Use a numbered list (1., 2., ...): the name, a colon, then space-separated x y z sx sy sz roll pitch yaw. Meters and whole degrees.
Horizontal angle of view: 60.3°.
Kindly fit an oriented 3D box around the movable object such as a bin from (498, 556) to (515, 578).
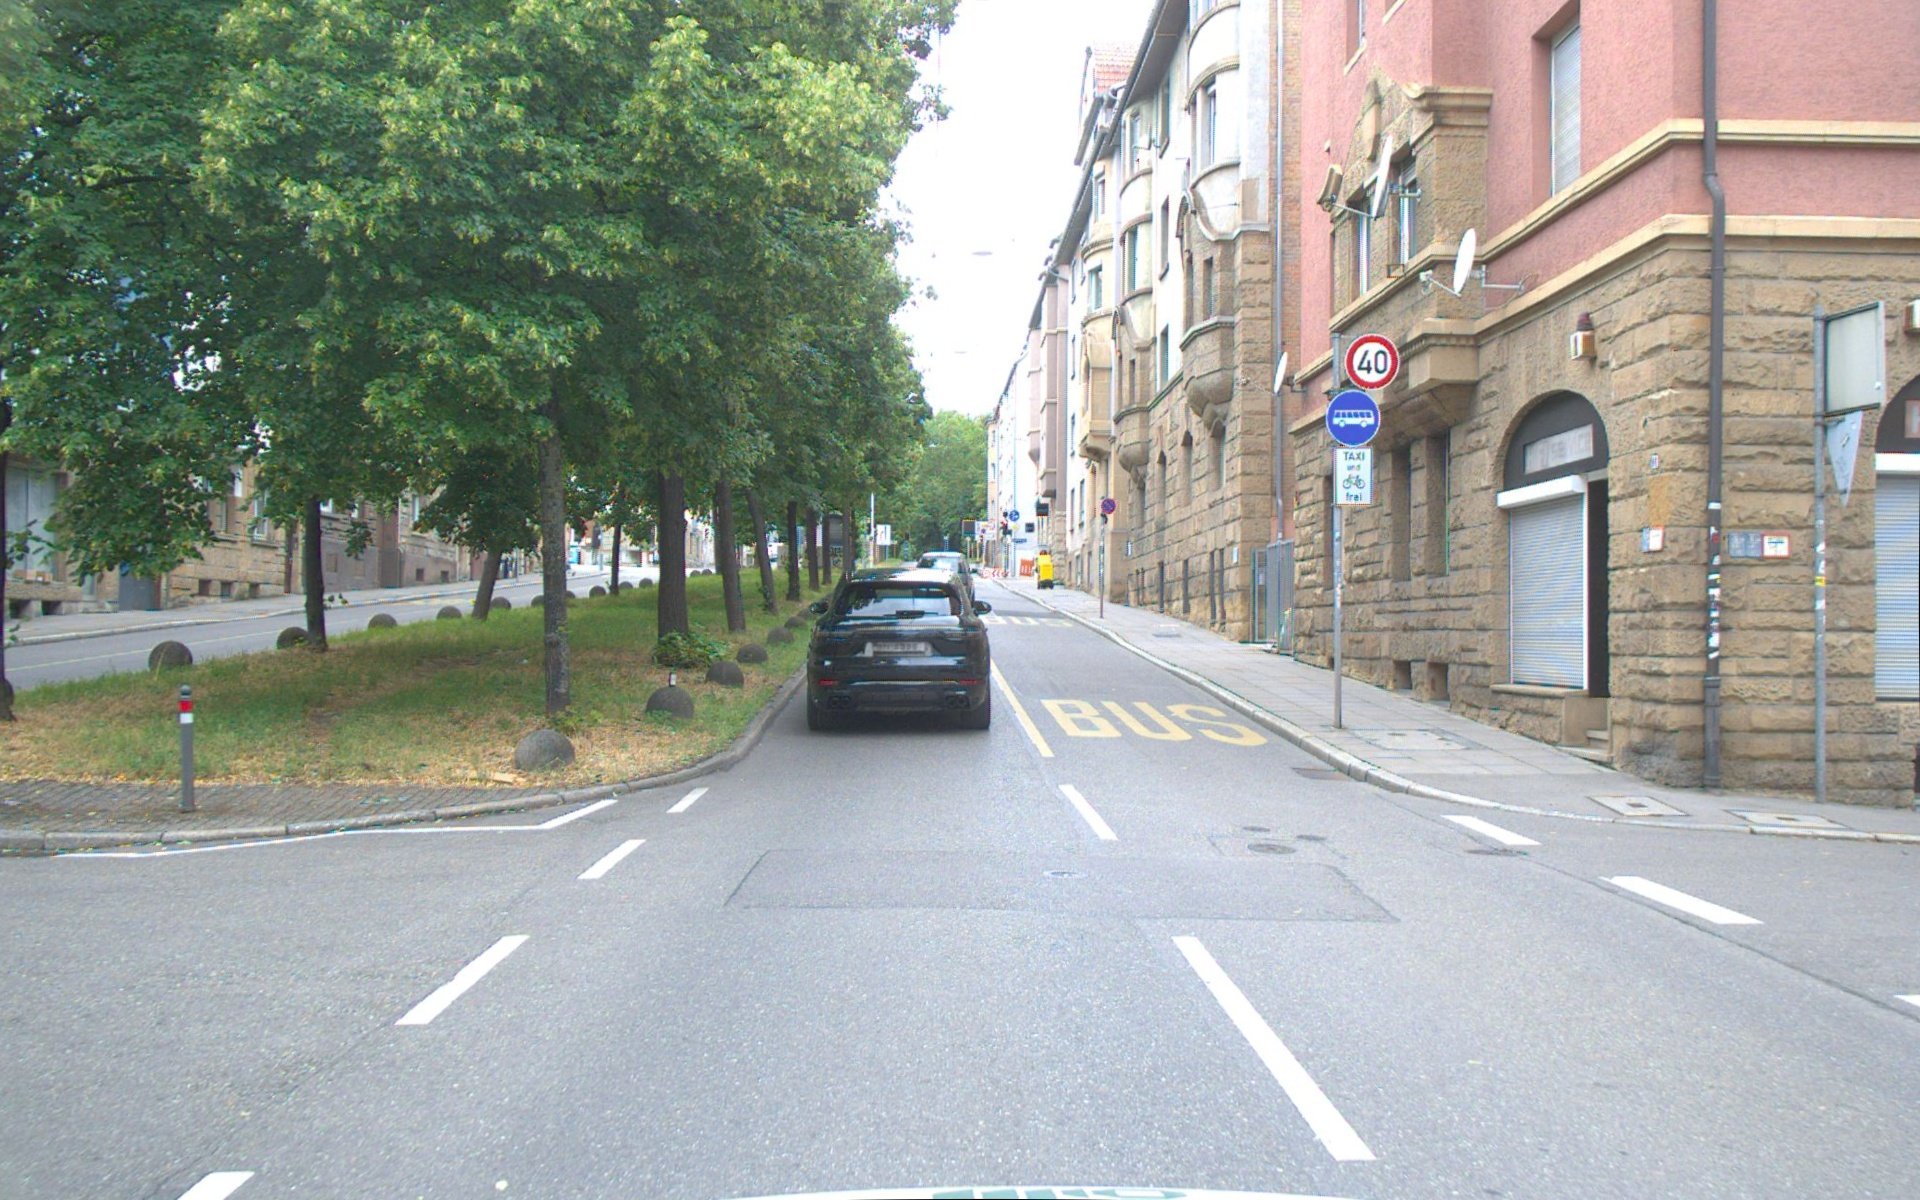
1. movable object such as a bin: -19.164 -1.388 69.883 0.597 0.920 0.601 1 1 -5

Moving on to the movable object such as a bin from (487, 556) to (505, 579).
1. movable object such as a bin: -19.177 -1.331 68.428 0.597 0.920 0.601 1 1 -5

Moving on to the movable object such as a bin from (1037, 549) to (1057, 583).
1. movable object such as a bin: 3.810 -1.492 72.707 0.705 1.445 1.692 0 1 -3

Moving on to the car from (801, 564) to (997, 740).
1. car: -0.632 0.480 18.582 1.953 1.681 4.000 0 2 -1

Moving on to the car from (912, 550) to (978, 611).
1. car: -0.467 -0.598 47.308 1.717 1.621 3.629 1 2 -3
